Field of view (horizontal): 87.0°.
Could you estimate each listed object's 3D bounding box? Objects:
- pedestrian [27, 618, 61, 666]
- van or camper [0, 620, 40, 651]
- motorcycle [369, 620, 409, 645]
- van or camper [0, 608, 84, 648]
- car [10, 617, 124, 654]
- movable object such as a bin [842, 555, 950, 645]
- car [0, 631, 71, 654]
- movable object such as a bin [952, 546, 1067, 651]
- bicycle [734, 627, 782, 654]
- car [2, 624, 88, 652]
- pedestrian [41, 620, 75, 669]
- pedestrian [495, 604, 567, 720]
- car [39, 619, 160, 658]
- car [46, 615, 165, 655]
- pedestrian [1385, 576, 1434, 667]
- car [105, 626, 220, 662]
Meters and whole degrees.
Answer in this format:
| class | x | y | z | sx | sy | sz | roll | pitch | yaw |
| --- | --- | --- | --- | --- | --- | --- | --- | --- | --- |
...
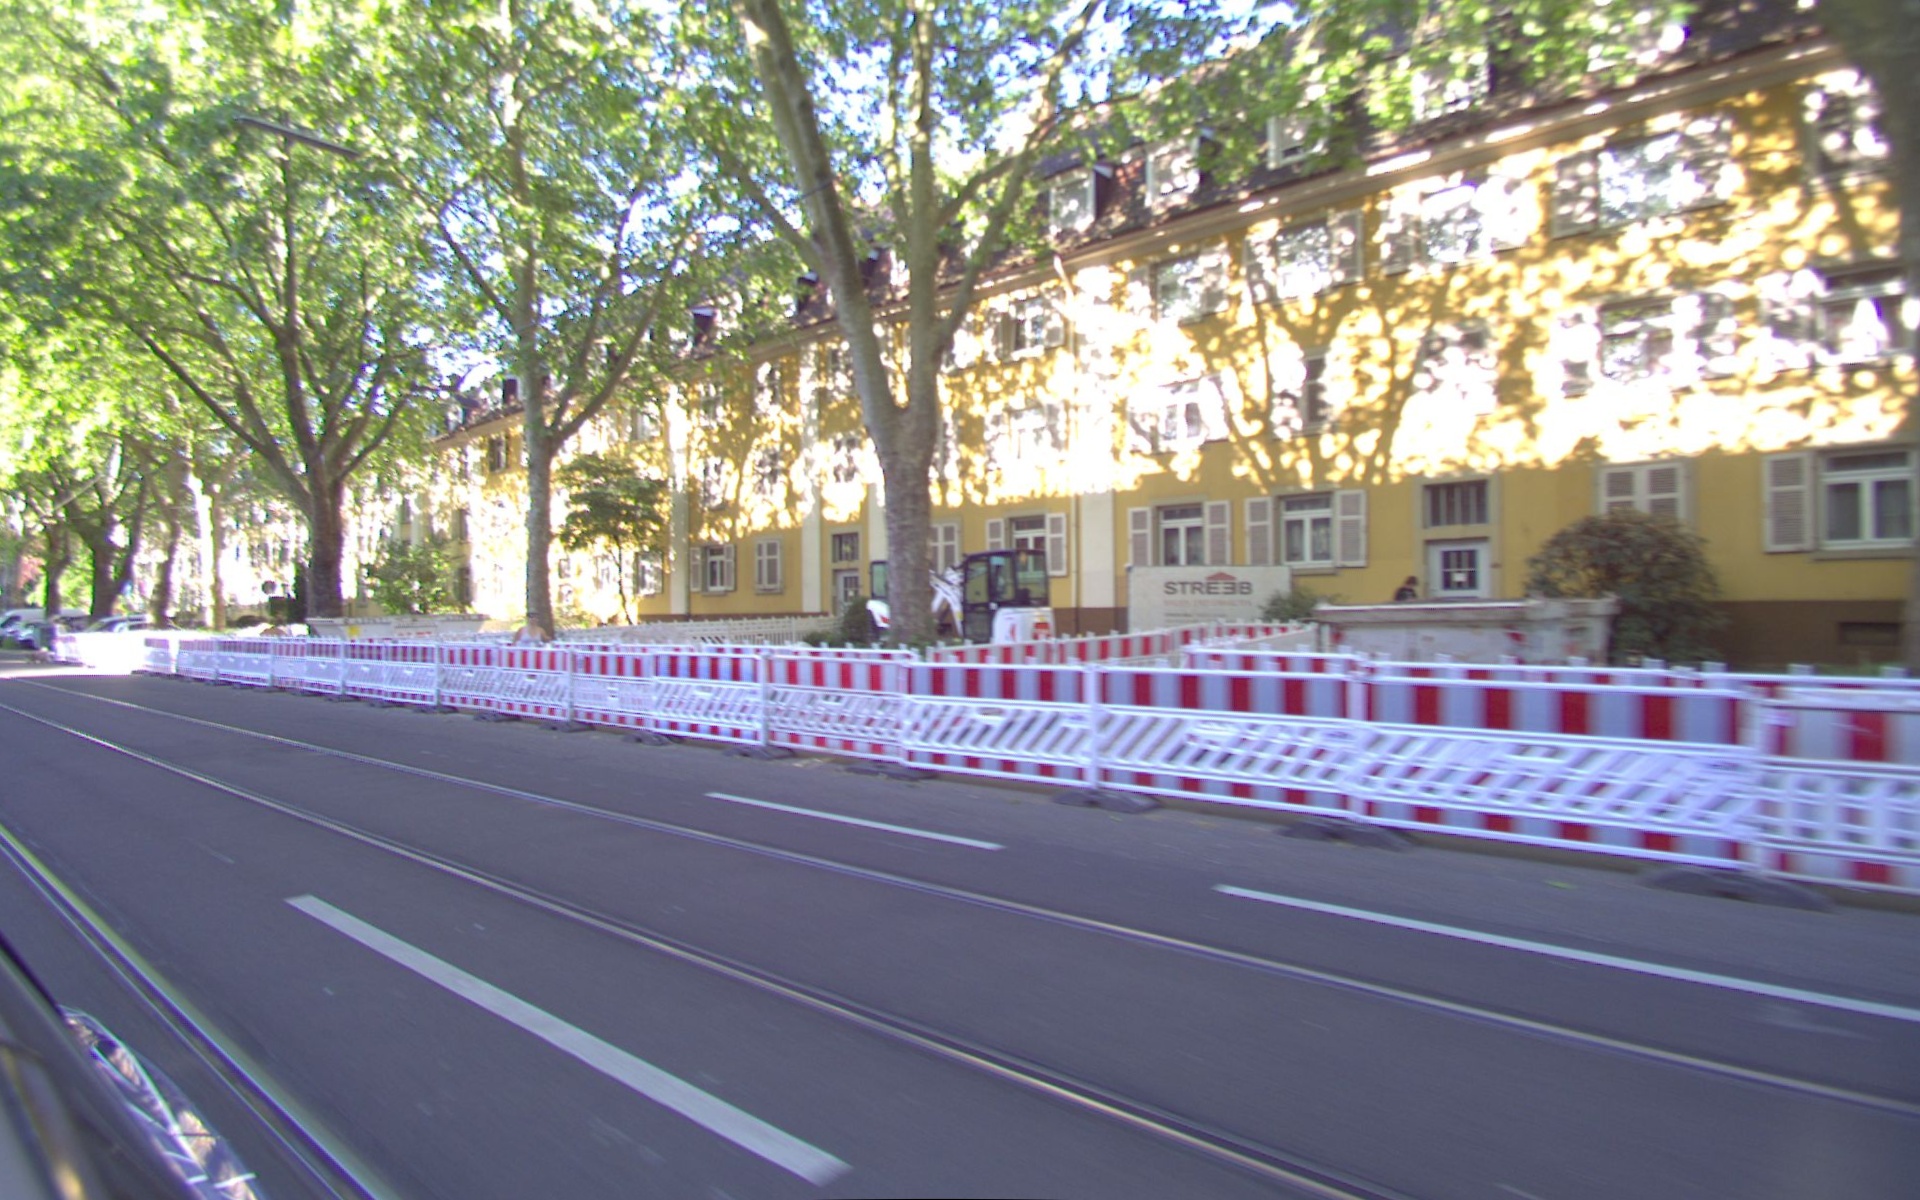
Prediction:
| class | x | y | z | sx | sy | sz | roll | pitch | yaw |
| --- | --- | --- | --- | --- | --- | --- | --- | --- | --- |
| pedestrian | -34.520 | 1.558 | 38.139 | 0.796 | 1.758 | 0.813 | -1 | 0 | 41 |
| van or camper | -71.008 | 2.656 | 74.416 | 2.117 | 2.206 | 4.771 | -2 | -1 | 39 |
| motorcycle | -29.291 | 1.641 | 51.936 | 0.522 | 1.250 | 1.691 | -2 | -2 | 42 |
| van or camper | -61.251 | 1.841 | 66.447 | 2.443 | 2.535 | 5.335 | -2 | -1 | 40 |
| car | -51.037 | 2.012 | 57.897 | 1.959 | 1.960 | 4.614 | -2 | -1 | 37 |
| movable object such as a bin | -1.421 | 0.010 | 22.302 | 2.006 | 1.883 | 1.320 | -1 | 0 | 41 |
| car | -59.601 | 2.717 | 64.468 | 1.752 | 1.409 | 4.220 | -2 | -2 | 41 |
| movable object such as a bin | 0.819 | -0.025 | 16.848 | 1.559 | 1.658 | 1.086 | -1 | 0 | 41 |
| bicycle | -6.295 | 1.265 | 31.555 | 1.641 | 0.825 | 0.501 | -2 | -1 | 37 |
| car | -57.494 | 2.366 | 63.613 | 1.861 | 1.675 | 3.807 | -2 | -2 | 41 |
| pedestrian | -33.670 | 1.648 | 37.778 | 0.796 | 1.758 | 0.813 | -1 | 0 | 41 |
| pedestrian | -6.514 | 0.919 | 15.362 | 0.778 | 1.682 | 0.709 | -1 | 0 | 41 |
| car | -39.929 | 1.761 | 47.022 | 4.184 | 1.701 | 1.935 | 1 | -2 | -43 |
| car | -41.340 | 1.661 | 49.030 | 1.737 | 1.771 | 4.158 | -2 | -1 | 38 |
| pedestrian | 8.414 | 0.396 | 18.968 | 0.665 | 1.669 | 0.671 | -1 | -1 | 11 |
| car | -35.851 | 1.957 | 45.546 | 1.861 | 1.509 | 3.807 | -2 | -2 | 41 |
